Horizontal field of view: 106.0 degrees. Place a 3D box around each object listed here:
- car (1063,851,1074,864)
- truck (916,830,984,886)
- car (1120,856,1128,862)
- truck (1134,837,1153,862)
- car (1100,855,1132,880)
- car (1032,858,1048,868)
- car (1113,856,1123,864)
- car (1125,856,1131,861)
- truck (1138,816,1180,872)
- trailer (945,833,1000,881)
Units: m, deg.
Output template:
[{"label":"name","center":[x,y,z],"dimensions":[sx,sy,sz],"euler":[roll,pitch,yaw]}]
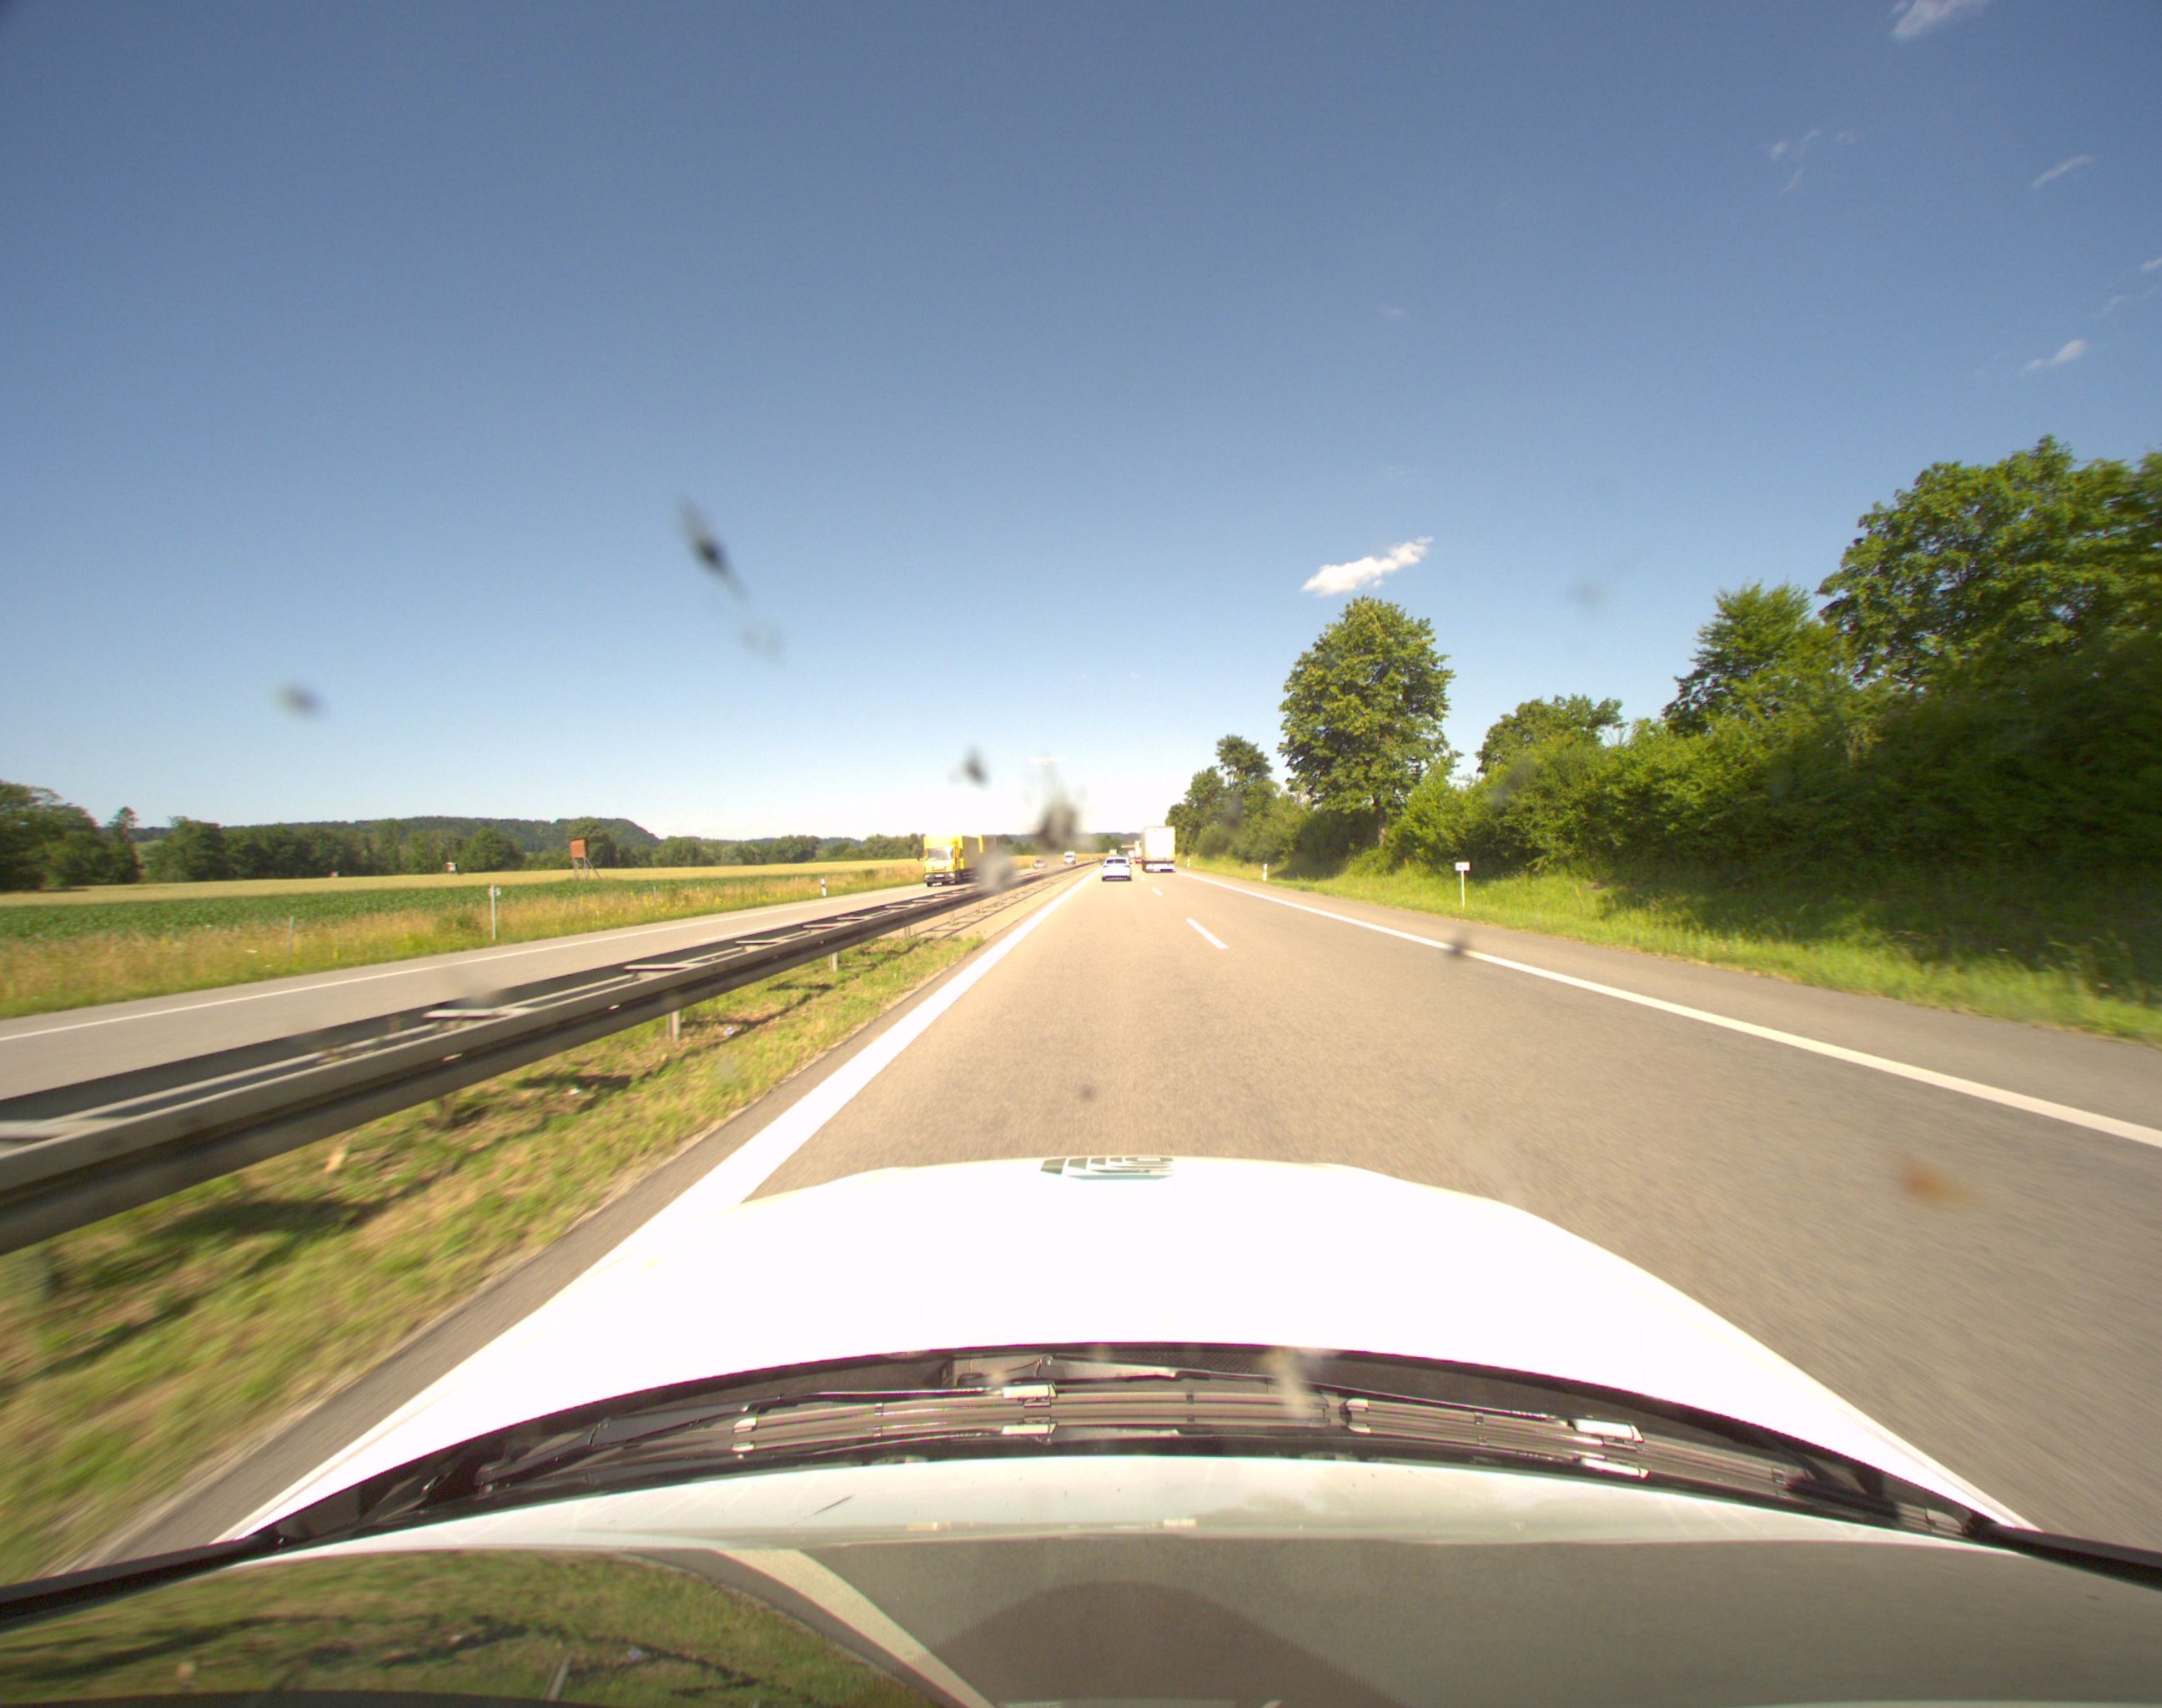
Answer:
[{"label":"car","center":[-2.569,0.723,169.539],"dimensions":[1.917,2.476,5.188],"euler":[-2,0,2]},{"label":"truck","center":[-8.958,0.261,56.845],"dimensions":[2.725,3.383,9.237],"euler":[-4,0,2]},{"label":"car","center":[10.338,1.152,196.530],"dimensions":[1.764,1.421,4.368],"euler":[-1,0,3]},{"label":"truck","center":[10.870,-0.793,143.034],"dimensions":[3.000,4.115,8.913],"euler":[-2,0,3]},{"label":"car","center":[2.124,0.796,50.094],"dimensions":[1.833,1.421,5.256],"euler":[0,0,1]},{"label":"car","center":[-6.056,1.381,120.729],"dimensions":[1.828,1.376,4.002],"euler":[-2,0,2]},{"label":"car","center":[6.869,1.120,150.656],"dimensions":[1.764,1.421,4.366],"euler":[-1,0,2]},{"label":"car","center":[12.743,1.137,220.376],"dimensions":[1.763,1.421,4.369],"euler":[-1,0,4]},{"label":"truck","center":[6.894,-0.868,73.369],"dimensions":[3.140,4.612,8.910],"euler":[-2,0,2]},{"label":"trailer","center":[-8.638,0.214,66.130],"dimensions":[2.725,3.460,9.237],"euler":[-4,0,2]}]
